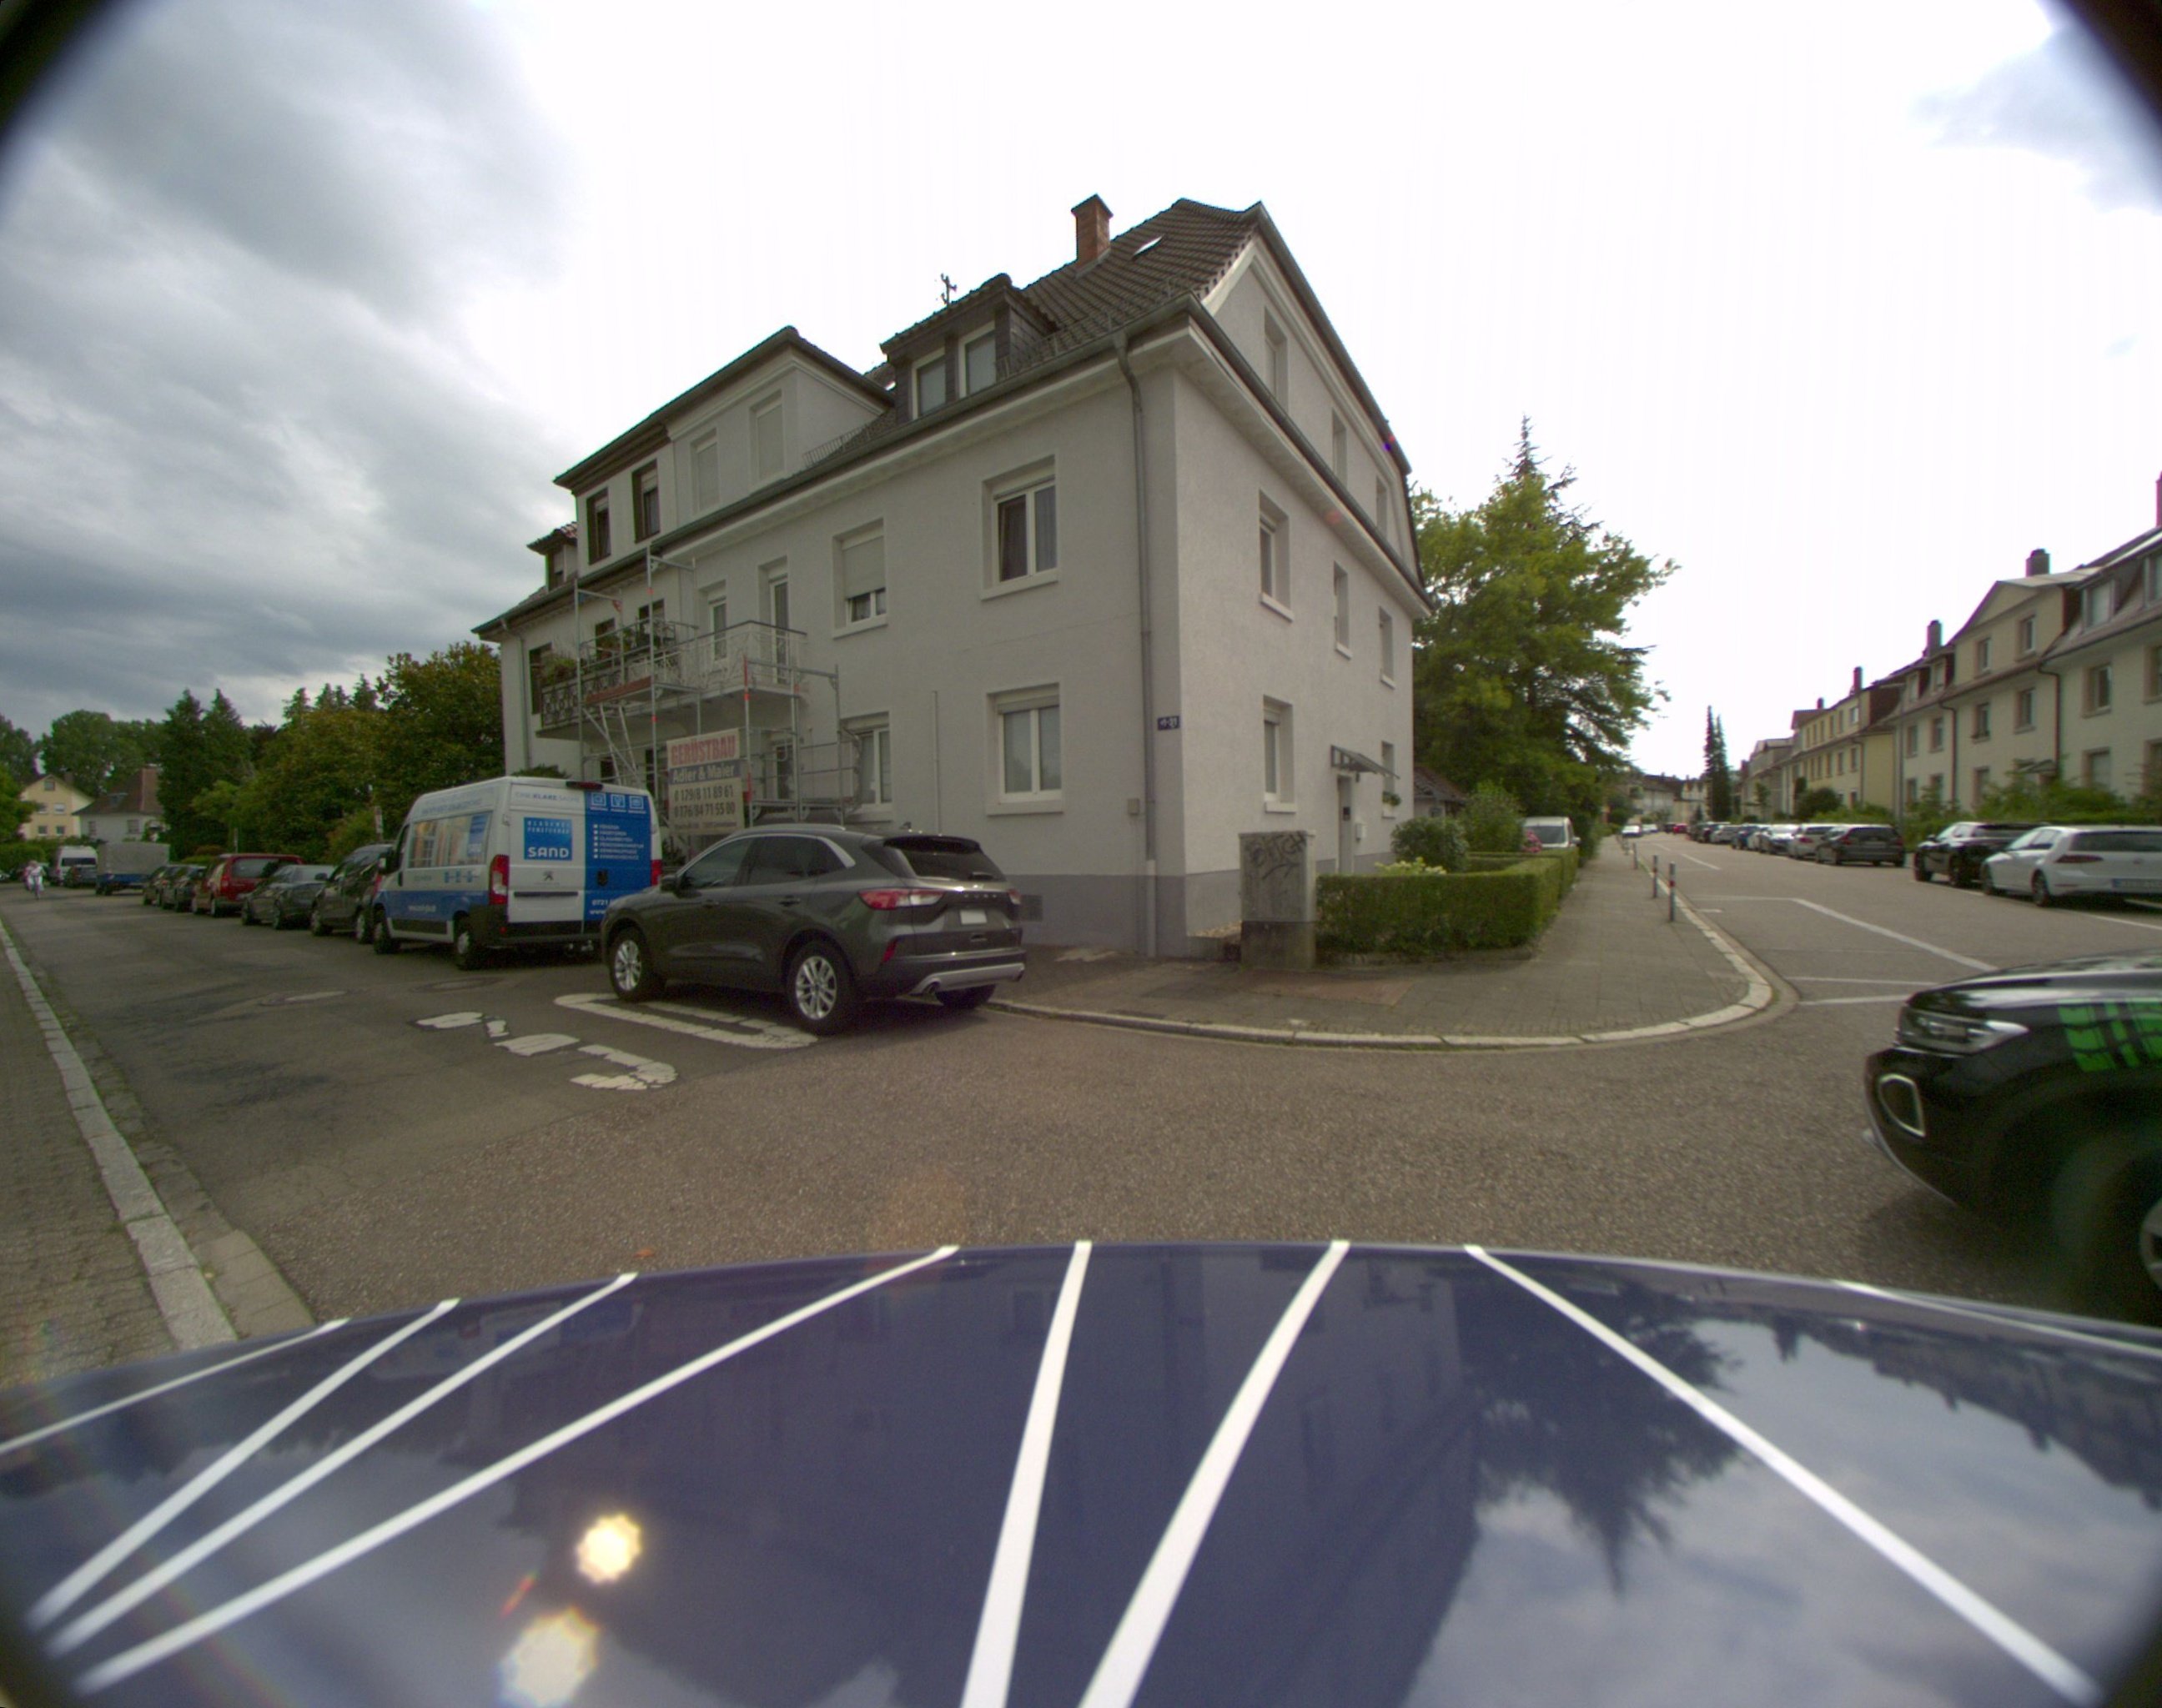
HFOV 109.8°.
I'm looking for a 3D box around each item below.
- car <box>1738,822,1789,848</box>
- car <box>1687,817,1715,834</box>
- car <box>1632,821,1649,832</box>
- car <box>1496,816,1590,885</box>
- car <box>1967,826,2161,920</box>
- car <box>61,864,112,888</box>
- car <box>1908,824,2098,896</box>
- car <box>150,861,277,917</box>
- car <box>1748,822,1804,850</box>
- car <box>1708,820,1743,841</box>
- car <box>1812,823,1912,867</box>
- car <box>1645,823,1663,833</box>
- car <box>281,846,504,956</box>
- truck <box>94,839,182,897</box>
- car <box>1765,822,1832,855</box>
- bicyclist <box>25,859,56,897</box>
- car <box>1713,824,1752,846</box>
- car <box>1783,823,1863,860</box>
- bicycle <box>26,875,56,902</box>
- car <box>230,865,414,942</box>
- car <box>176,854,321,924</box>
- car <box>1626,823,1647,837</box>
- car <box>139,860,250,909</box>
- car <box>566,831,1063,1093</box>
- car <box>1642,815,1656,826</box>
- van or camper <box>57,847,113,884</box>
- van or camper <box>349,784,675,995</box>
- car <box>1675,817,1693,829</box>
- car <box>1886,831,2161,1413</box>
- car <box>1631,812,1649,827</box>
[{"bbox_3d":[40.860,-1.167,45.558,1.854,1.463,4.183,0,2,36],"label":"car"},{"bbox_3d":[62.006,-2.861,75.991,1.854,1.569,4.183,0,2,35],"label":"car"},{"bbox_3d":[87.343,-4.361,118.616,1.994,1.631,4.007,0,2,39],"label":"car"},{"bbox_3d":[13.611,-0.163,22.278,1.994,1.827,4.007,0,2,37],"label":"car"},{"bbox_3d":[18.464,0.251,14.005,1.854,1.463,4.183,0,2,36],"label":"car"},{"bbox_3d":[-63.480,1.368,48.489,3.988,1.368,1.830,0,2,36],"label":"car"},{"bbox_3d":[21.366,0.070,17.841,1.854,1.463,4.183,0,2,36],"label":"car"},{"bbox_3d":[-28.116,1.066,24.600,4.329,1.582,2.003,0,2,32],"label":"car"},{"bbox_3d":[38.326,-1.007,41.998,1.854,1.463,4.183,0,2,36],"label":"car"},{"bbox_3d":[50.983,-1.866,60.167,1.854,1.569,4.183,0,2,36],"label":"car"},{"bbox_3d":[28.181,-0.362,27.544,1.854,1.463,4.183,0,2,36],"label":"car"},{"bbox_3d":[97.103,-4.426,128.809,1.994,1.527,4.007,-2,1,44],"label":"car"},{"bbox_3d":[-13.209,0.786,14.540,4.329,1.762,2.003,0,2,32],"label":"car"},{"bbox_3d":[-46.634,0.651,37.561,4.571,2.642,2.140,0,2,33],"label":"truck"},{"bbox_3d":[34.490,-0.764,36.629,1.854,1.463,4.183,0,2,36],"label":"car"},{"bbox_3d":[-47.001,1.080,34.317,0.972,1.657,0.700,-1,3,35],"label":"bicyclist"},{"bbox_3d":[47.945,-1.410,55.959,1.854,1.463,4.183,0,2,36],"label":"car"},{"bbox_3d":[31.147,-0.554,32.013,1.854,1.463,4.183,0,2,36],"label":"car"},{"bbox_3d":[-46.946,1.542,34.297,1.868,1.146,0.708,0,3,35],"label":"bicycle"},{"bbox_3d":[-17.388,1.027,17.369,4.329,1.447,2.003,0,2,32],"label":"car"},{"bbox_3d":[-23.916,0.927,21.797,4.329,1.740,2.003,0,2,32],"label":"car"},{"bbox_3d":[69.828,-3.010,95.483,1.994,1.631,4.007,0,2,39],"label":"car"},{"bbox_3d":[-32.792,1.071,28.090,4.329,1.582,2.003,0,2,32],"label":"car"},{"bbox_3d":[-2.548,0.702,6.994,4.329,1.717,2.003,0,2,32],"label":"car"},{"bbox_3d":[114.576,-6.829,153.248,1.994,2.112,4.007,0,2,39],"label":"car"},{"bbox_3d":[-73.364,0.801,55.960,5.000,2.527,2.152,0,2,35],"label":"van or camper"},{"bbox_3d":[-8.423,0.384,11.108,5.040,2.445,2.203,0,2,34],"label":"van or camper"},{"bbox_3d":[86.179,-4.410,108.590,1.854,1.569,4.183,0,2,36],"label":"car"},{"bbox_3d":[4.232,0.661,0.956,1.824,1.511,4.035,-1,0,-24],"label":"car"},{"bbox_3d":[77.516,-4.838,105.384,1.994,2.002,4.007,0,2,37],"label":"car"}]
